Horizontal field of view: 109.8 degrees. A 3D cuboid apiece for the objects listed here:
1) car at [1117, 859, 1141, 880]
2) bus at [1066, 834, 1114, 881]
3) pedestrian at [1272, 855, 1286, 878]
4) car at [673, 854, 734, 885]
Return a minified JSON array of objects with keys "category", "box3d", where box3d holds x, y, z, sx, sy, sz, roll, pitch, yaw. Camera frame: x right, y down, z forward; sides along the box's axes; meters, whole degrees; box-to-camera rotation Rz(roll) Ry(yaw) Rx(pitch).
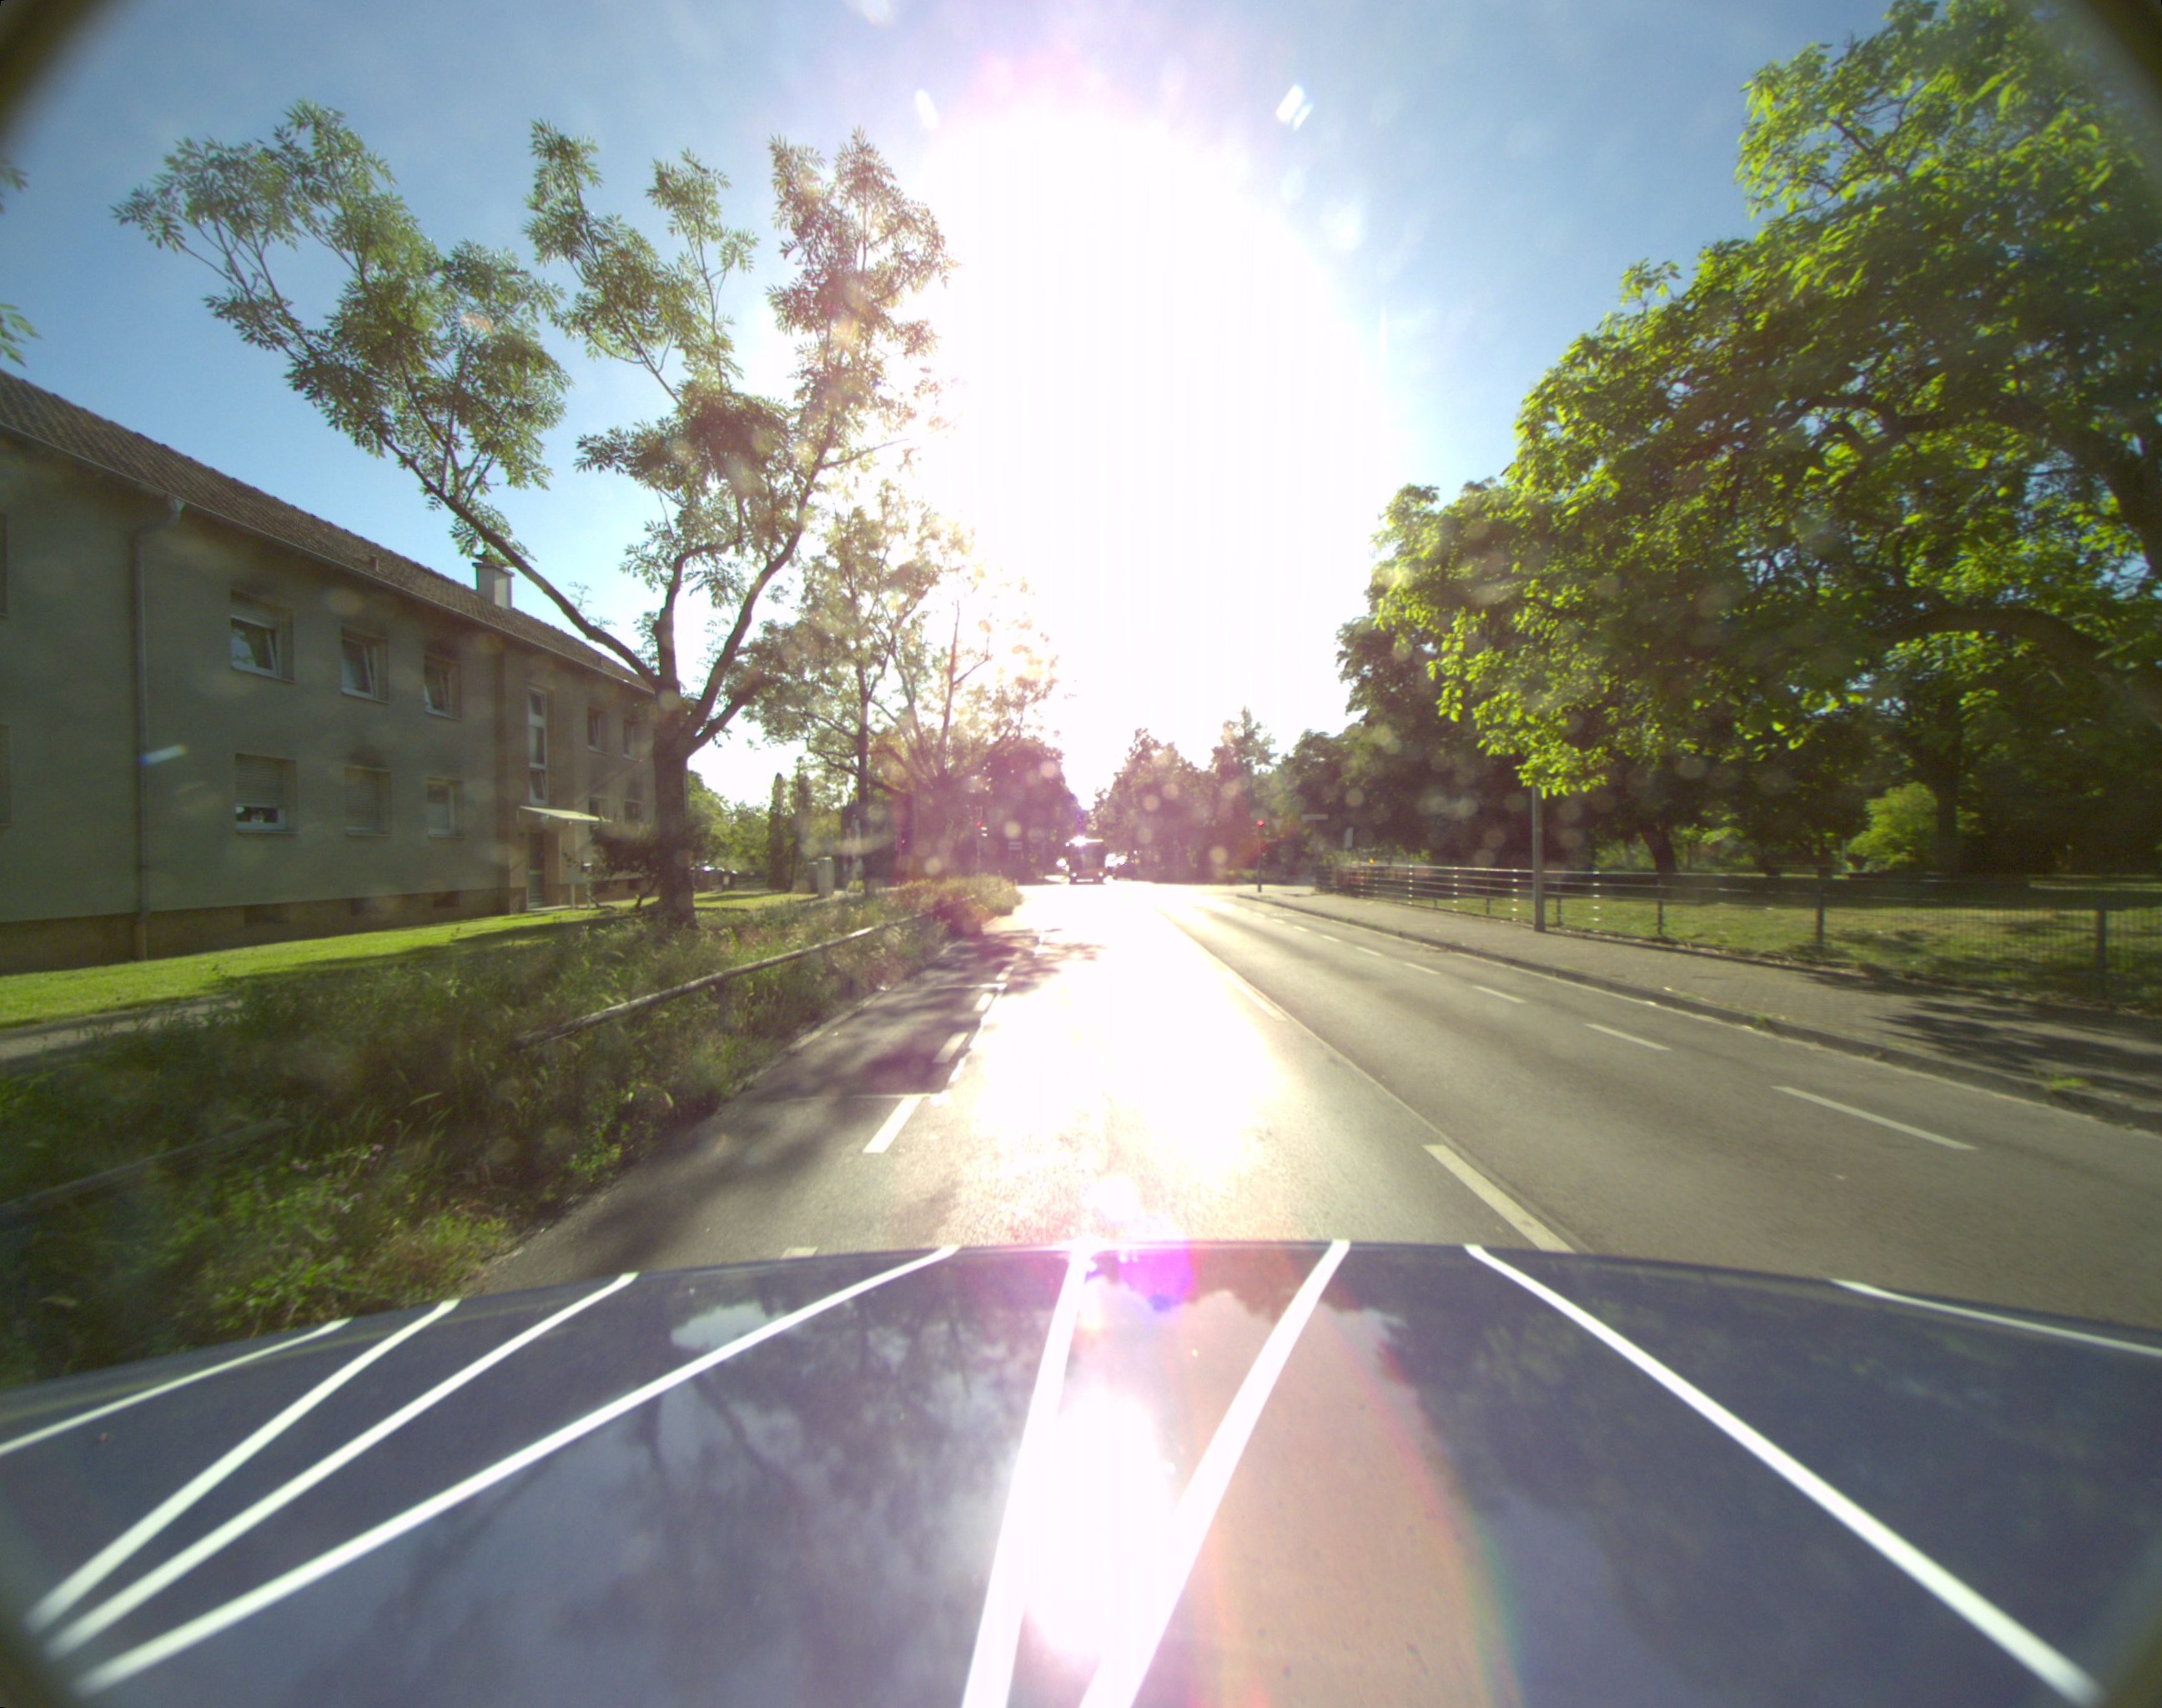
[{"category":"car","box3d":[3.857,1.251,61.957,1.819,1.608,4.392,0,0,1]},{"category":"bus","box3d":[0.712,0.332,57.609,3.128,3.080,12.481,-2,-1,1]},{"category":"pedestrian","box3d":[14.262,0.867,54.679,0.800,1.624,0.647,-2,0,1]},{"category":"car","box3d":[-24.303,0.946,49.110,1.868,1.642,4.444,-2,3,-3]}]
